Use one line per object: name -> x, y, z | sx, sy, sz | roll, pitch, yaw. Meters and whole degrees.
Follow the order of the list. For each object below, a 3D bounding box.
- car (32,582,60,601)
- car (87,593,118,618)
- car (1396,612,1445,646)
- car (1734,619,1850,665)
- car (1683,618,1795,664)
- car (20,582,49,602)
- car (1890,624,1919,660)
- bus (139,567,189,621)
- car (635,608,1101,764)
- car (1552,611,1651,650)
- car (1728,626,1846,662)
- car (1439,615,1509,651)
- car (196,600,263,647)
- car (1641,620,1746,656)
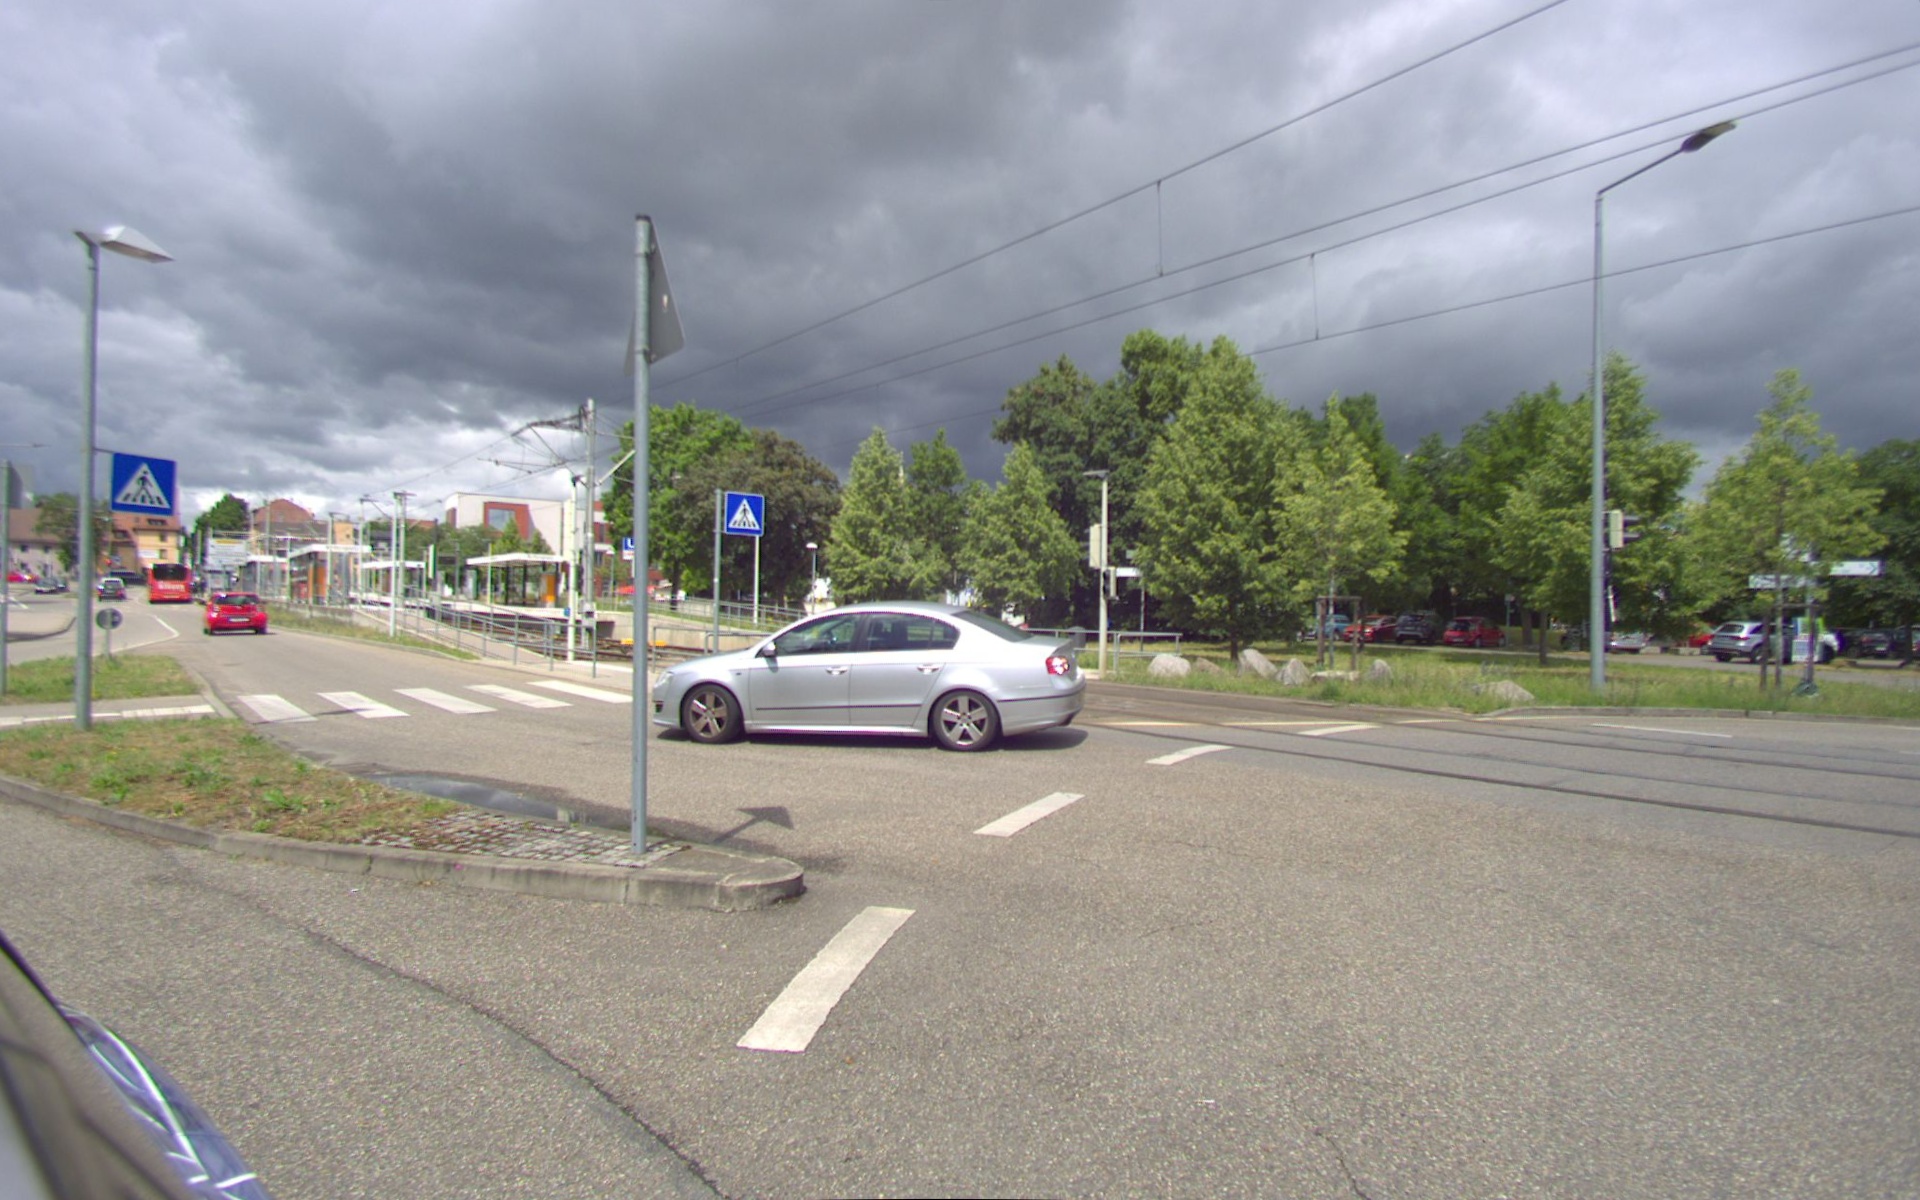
car -> -95.652, -0.899, 105.920 | 1.968, 1.874, 4.006 | 2, -1, -40
car -> -69.741, 0.481, 82.350 | 1.822, 1.942, 3.783 | 2, -1, -40
car -> 23.354, 1.495, 51.278 | 1.625, 1.602, 3.576 | 0, -2, 35
car -> 33.714, 1.661, 41.133 | 1.976, 1.602, 3.577 | 1, 1, 7
car -> 31.265, 1.602, 40.763 | 1.976, 1.602, 3.577 | 1, 1, 7
car -> -92.863, -0.795, 101.546 | 1.968, 1.874, 4.006 | 2, -1, -40
car -> 45.653, 1.955, 46.418 | 3.955, 1.608, 1.994 | 1, -1, 9
bus -> -62.470, -0.395, 79.433 | 2.879, 3.916, 10.399 | 2, -1, -38
car -> -0.875, 0.809, 10.788 | 4.612, 1.392, 1.934 | 0, 0, 12
car -> 29.381, 1.386, 46.524 | 1.972, 1.697, 3.999 | 1, -1, 0
car -> 39.712, 2.102, 48.711 | 1.967, 1.604, 4.009 | 1, -2, -12
car -> 25.179, 1.623, 49.510 | 3.560, 1.602, 1.633 | 3, -2, -36
car -> -25.541, 0.778, 35.336 | 1.712, 1.521, 3.521 | 0, 0, -39
car -> 34.864, 1.802, 48.206 | 1.966, 1.602, 3.596 | 2, -2, -18
